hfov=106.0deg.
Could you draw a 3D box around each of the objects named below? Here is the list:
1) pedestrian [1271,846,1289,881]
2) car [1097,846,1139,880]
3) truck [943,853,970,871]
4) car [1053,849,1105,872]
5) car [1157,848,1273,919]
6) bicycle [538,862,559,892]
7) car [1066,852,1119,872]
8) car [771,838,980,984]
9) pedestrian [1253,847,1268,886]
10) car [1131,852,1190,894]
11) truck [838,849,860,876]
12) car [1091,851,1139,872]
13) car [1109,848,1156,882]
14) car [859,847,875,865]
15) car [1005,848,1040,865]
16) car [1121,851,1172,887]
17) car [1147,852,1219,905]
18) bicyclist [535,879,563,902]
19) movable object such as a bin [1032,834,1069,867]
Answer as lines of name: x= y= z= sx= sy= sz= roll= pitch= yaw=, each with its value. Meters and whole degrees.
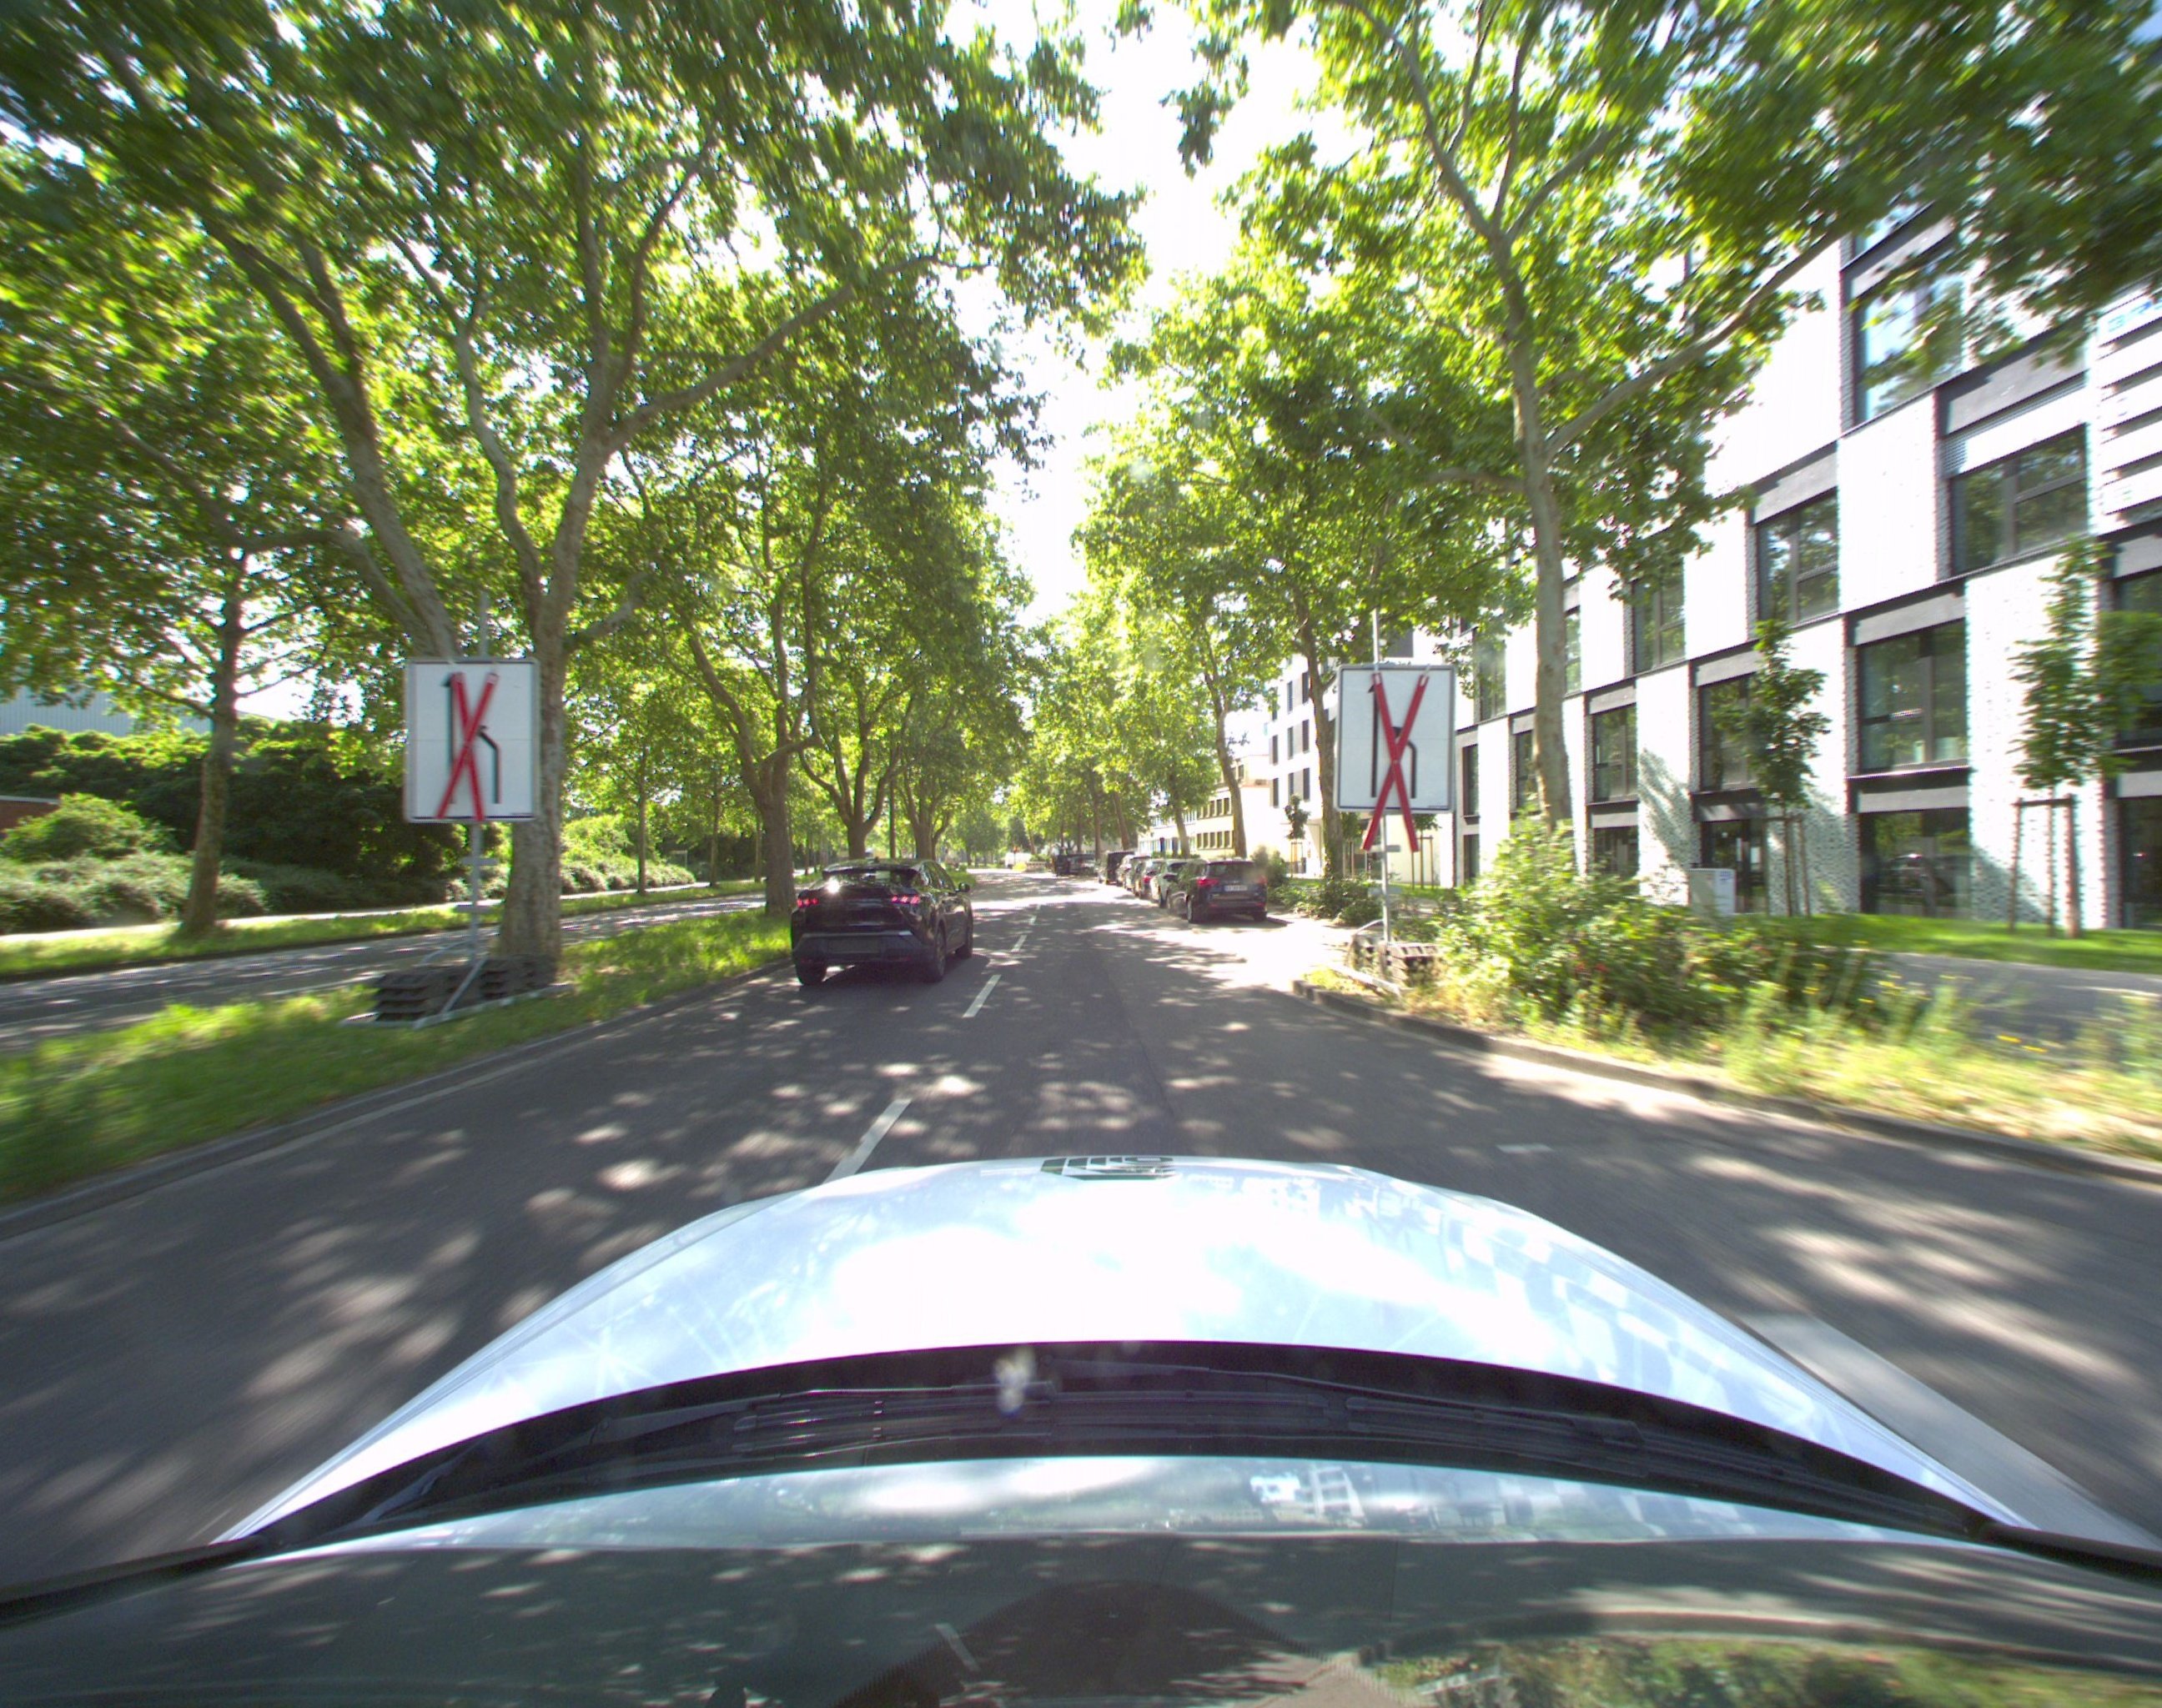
pedestrian: x=9.191 y=0.425 z=37.619 sx=0.611 sy=1.581 sz=0.570 roll=-1 pitch=-1 yaw=-2
car: x=2.089 y=0.540 z=47.168 sx=1.704 sy=1.842 sz=4.716 roll=-1 pitch=-1 yaw=-6
truck: x=-25.935 y=1.660 z=169.702 sx=5.522 sy=3.678 sz=1.995 roll=-1 pitch=-1 yaw=-7
car: x=-0.193 y=0.560 z=70.101 sx=4.118 sy=1.880 sz=1.771 roll=-1 pitch=-1 yaw=-23
car: x=3.170 y=0.674 z=20.208 sx=1.704 sy=1.488 sz=4.710 roll=-2 pitch=-1 yaw=-5
bicycle: x=-25.615 y=1.099 z=39.188 sx=0.427 sy=1.385 sz=0.954 roll=-1 pitch=-1 yaw=-1
car: x=0.948 y=0.655 z=68.337 sx=4.116 sy=1.633 sz=1.700 roll=-1 pitch=-1 yaw=-22
car: x=-2.741 y=0.708 z=11.986 sx=1.866 sy=1.696 sz=4.435 roll=-2 pitch=-1 yaw=1
pedestrian: x=8.261 y=0.579 z=37.499 sx=0.474 sy=1.808 sz=0.637 roll=-1 pitch=-1 yaw=-2
car: x=2.945 y=0.699 z=30.929 sx=1.702 sy=1.455 sz=4.653 roll=-1 pitch=-1 yaw=-1
truck: x=-31.107 y=1.118 z=109.332 sx=2.453 sy=3.450 sz=7.065 roll=1 pitch=0 yaw=-13
car: x=2.646 y=0.589 z=63.940 sx=3.551 sy=1.640 sz=1.654 roll=-1 pitch=-1 yaw=-9
car: x=2.618 y=0.566 z=42.362 sx=1.704 sy=1.669 sz=4.524 roll=-1 pitch=-1 yaw=-6
car: x=-42.003 y=0.349 z=160.030 sx=2.452 sy=3.450 sz=7.070 roll=1 pitch=0 yaw=-11
car: x=-8.664 y=0.371 z=120.342 sx=4.981 sy=2.542 sz=1.993 roll=-1 pitch=-1 yaw=-10
car: x=2.927 y=0.670 z=37.131 sx=1.703 sy=1.488 sz=4.479 roll=-1 pitch=-1 yaw=-3
car: x=3.115 y=0.734 z=25.672 sx=1.702 sy=1.488 sz=4.099 roll=-1 pitch=-1 yaw=-1
bicyclist: x=-25.605 y=1.749 z=39.241 sx=0.427 sy=1.013 sz=1.424 roll=-1 pitch=-1 yaw=-1
movable object such as a bin: x=-3.098 y=-0.295 z=82.431 sx=2.343 sy=3.241 sz=3.397 roll=0 pitch=-1 yaw=-31
